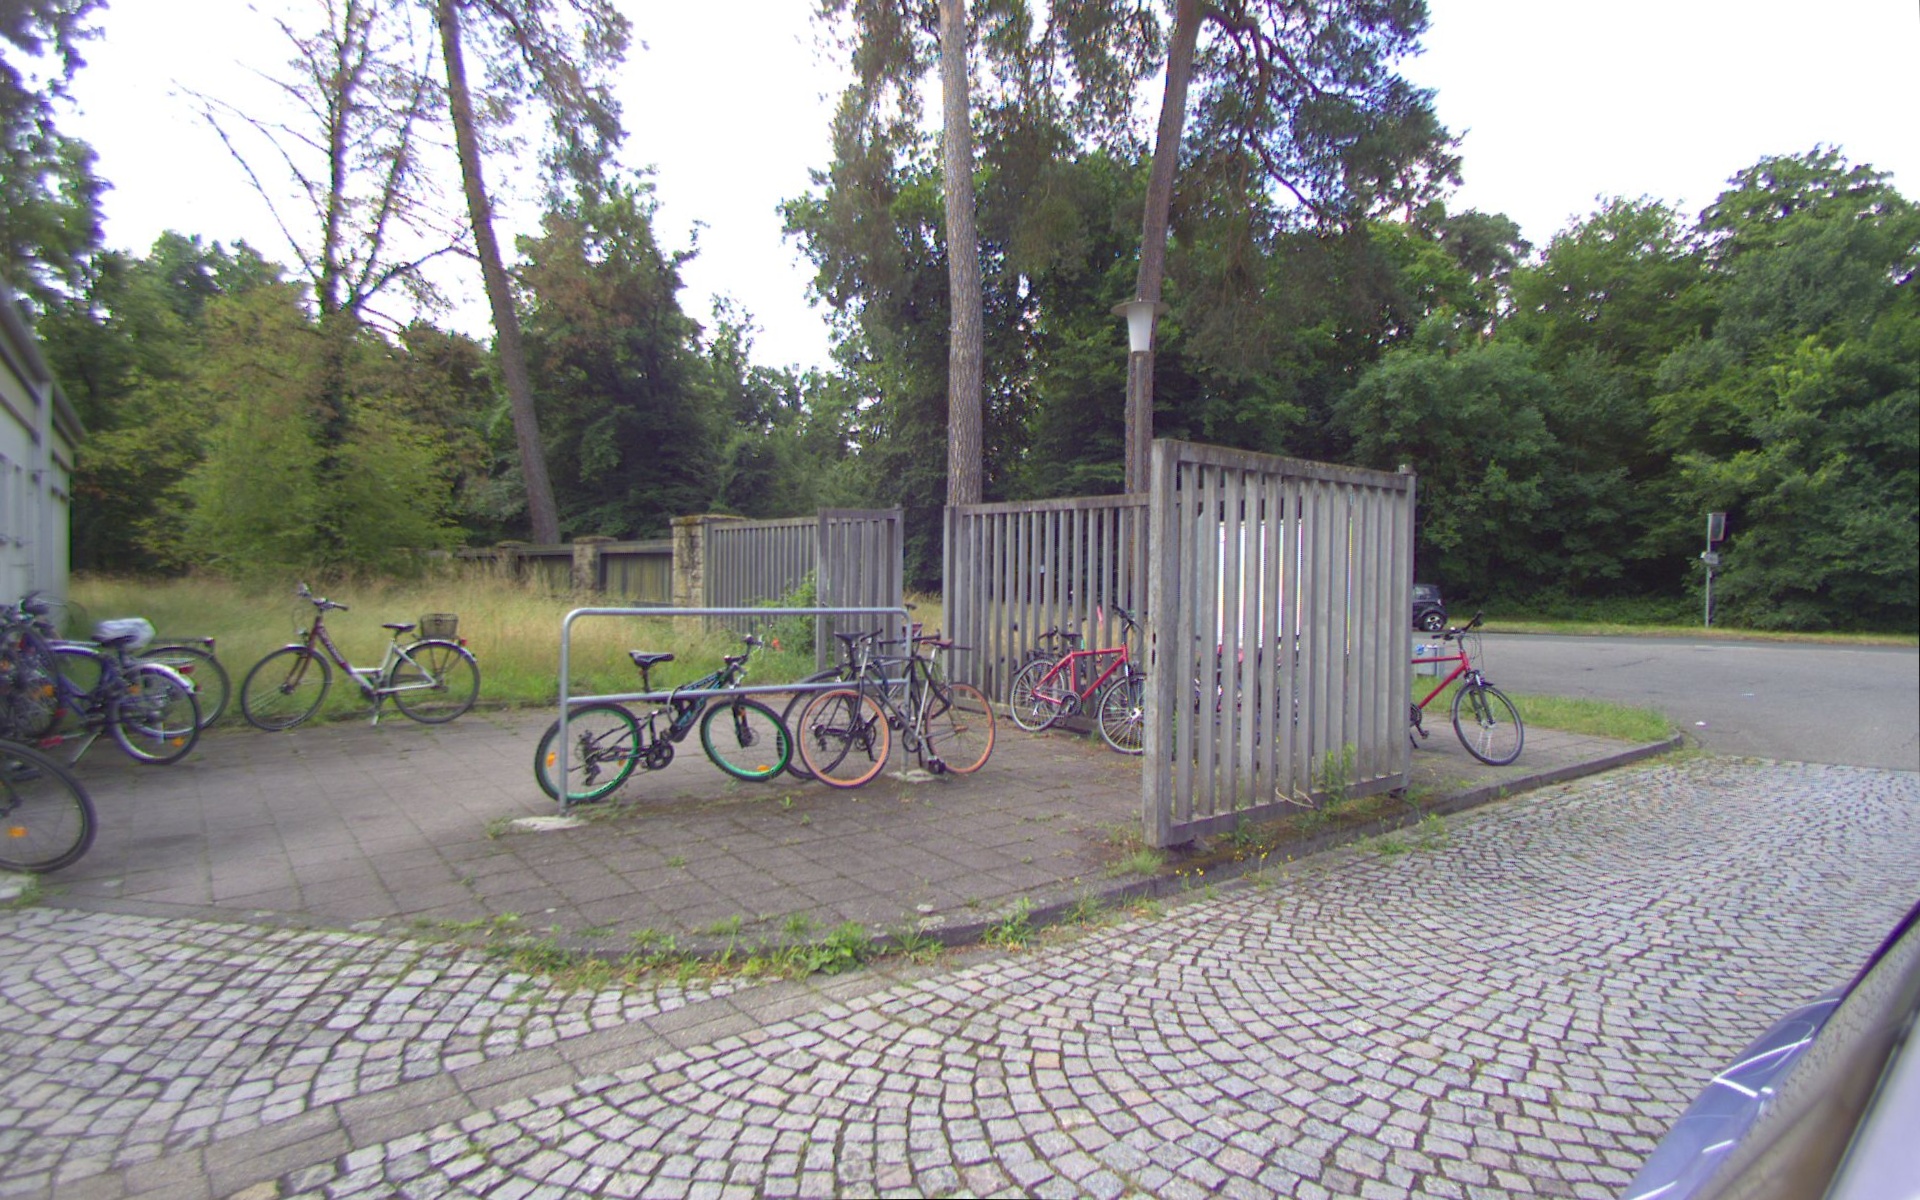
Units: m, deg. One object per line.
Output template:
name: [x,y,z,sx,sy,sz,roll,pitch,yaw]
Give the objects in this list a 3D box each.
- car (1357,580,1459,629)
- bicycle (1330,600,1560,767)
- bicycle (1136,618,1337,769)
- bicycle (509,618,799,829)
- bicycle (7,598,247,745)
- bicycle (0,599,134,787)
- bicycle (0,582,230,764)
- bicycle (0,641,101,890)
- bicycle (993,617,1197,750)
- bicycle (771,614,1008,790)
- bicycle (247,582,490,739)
car: [14.391,0.106,32.663,2.848,1.464,1.645,2,1,20]
bicycle: [4.228,0.667,8.897,1.650,1.245,0.738,4,3,43]
bicycle: [2.280,0.734,8.560,0.380,1.046,1.731,0,2,-38]
bicycle: [-1.834,0.672,6.167,1.537,1.075,0.691,0,2,-40]
bicycle: [-6.160,0.512,7.537,1.328,1.023,0.406,1,1,-17]
bicycle: [-5.997,0.527,6.219,1.723,1.059,0.453,1,1,12]
bicycle: [-5.882,0.460,6.804,1.710,1.146,0.473,1,1,7]
bicycle: [-4.460,0.696,3.985,1.626,0.964,0.535,-1,2,-40]
bicycle: [1.144,0.680,8.955,0.495,0.951,1.864,0,3,-45]
bicycle: [-0.451,0.653,7.118,1.702,1.070,0.474,0,1,-40]
bicycle: [-4.794,0.445,8.259,1.648,1.153,0.649,0,1,-34]
